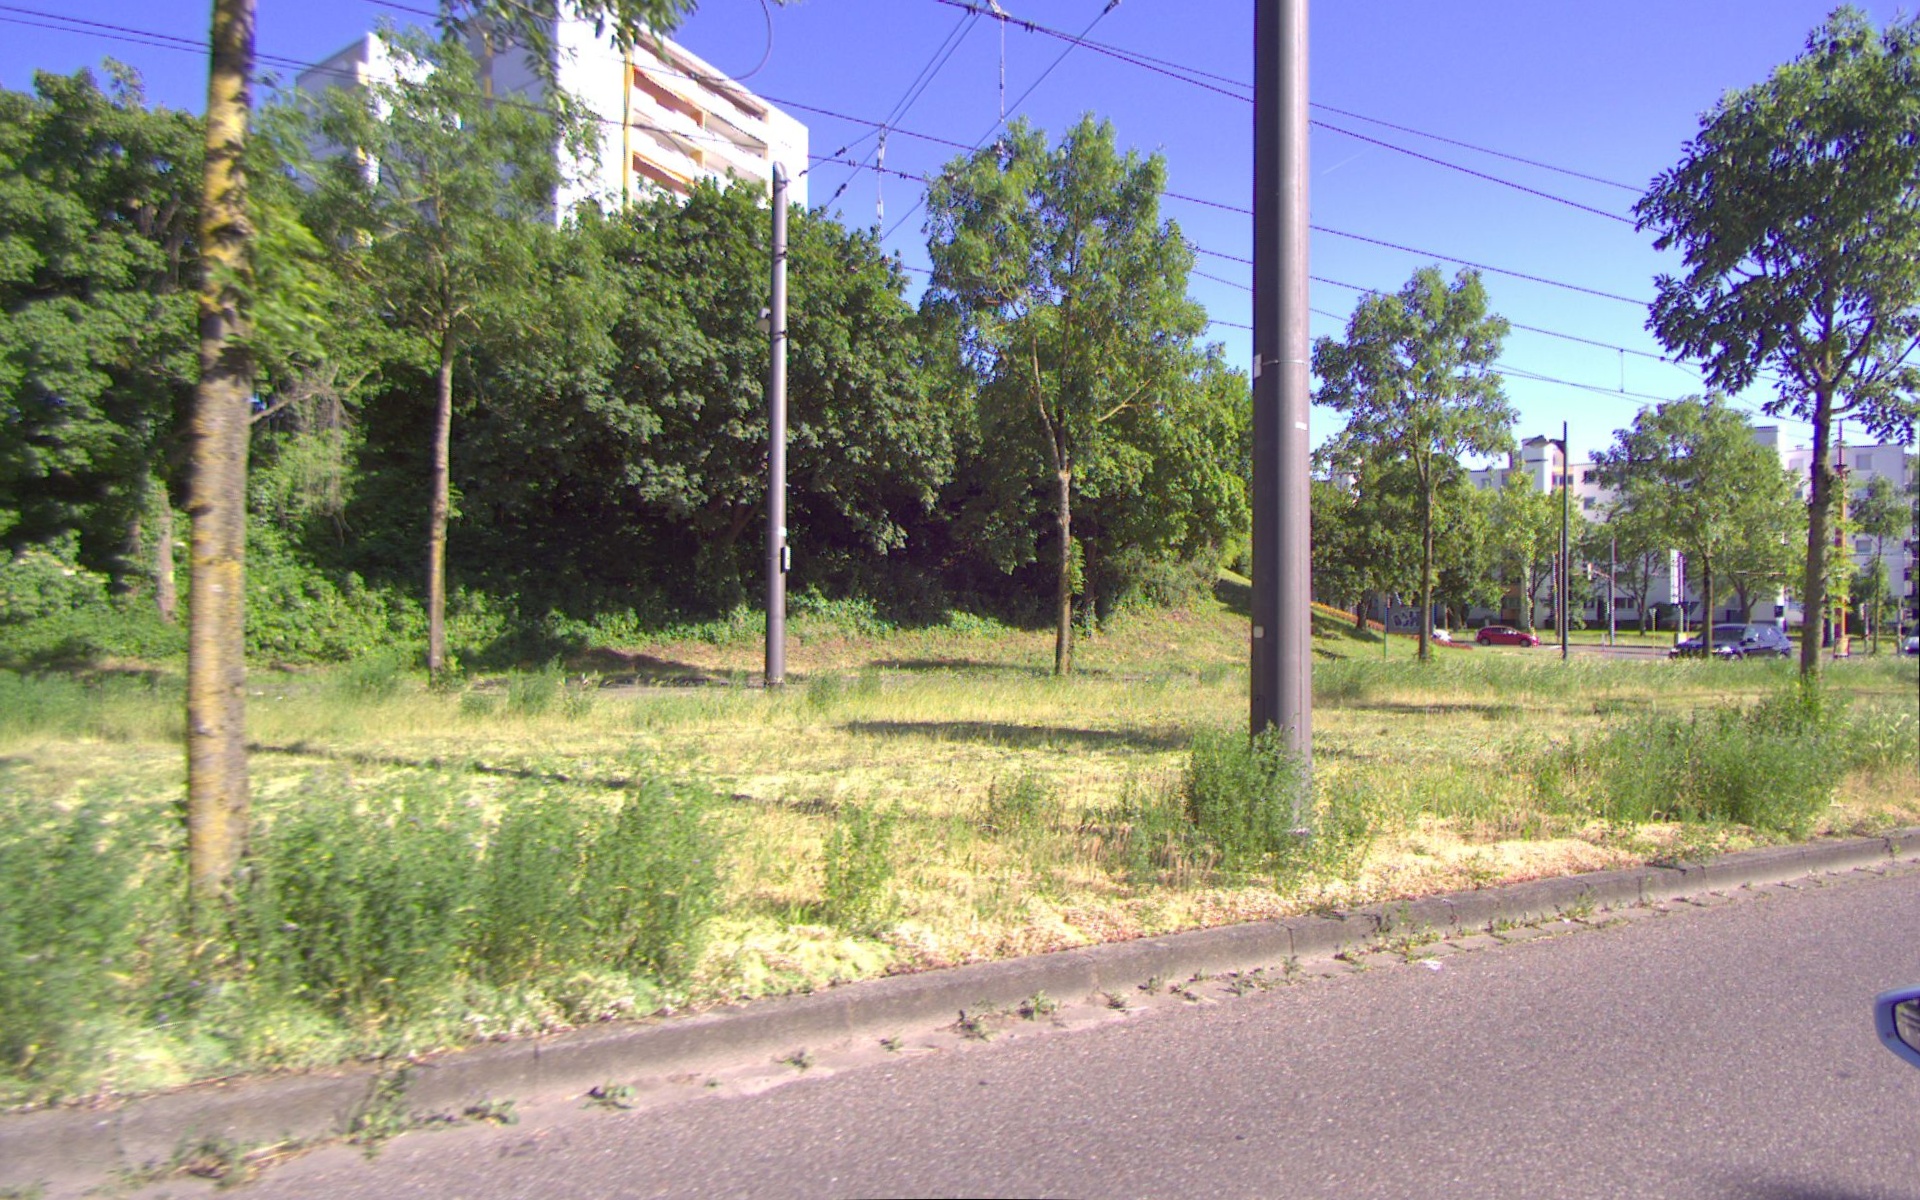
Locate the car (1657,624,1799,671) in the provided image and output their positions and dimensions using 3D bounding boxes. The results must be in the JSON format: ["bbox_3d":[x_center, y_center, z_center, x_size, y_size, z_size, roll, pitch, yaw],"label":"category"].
[{"bbox_3d":[28.217,1.731,36.873,5.202,1.605,1.987,1,0,-25],"label":"car"}]

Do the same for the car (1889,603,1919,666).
[{"bbox_3d":[39.725,1.405,39.684,6.788,2.400,2.033,1,0,-25],"label":"car"}]

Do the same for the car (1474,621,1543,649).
[{"bbox_3d":[40.019,2.524,73.263,4.204,1.926,1.994,1,0,35],"label":"car"}]

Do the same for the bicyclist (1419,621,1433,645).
[{"bbox_3d":[28.710,2.042,61.899,0.742,1.449,0.752,1,0,20],"label":"bicyclist"}]

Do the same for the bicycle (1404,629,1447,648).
[{"bbox_3d":[28.685,2.346,61.907,2.314,1.095,0.474,1,0,20],"label":"bicycle"}]

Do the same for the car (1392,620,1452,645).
[{"bbox_3d":[35.551,2.455,77.285,3.933,1.773,1.907,1,0,35],"label":"car"}]
